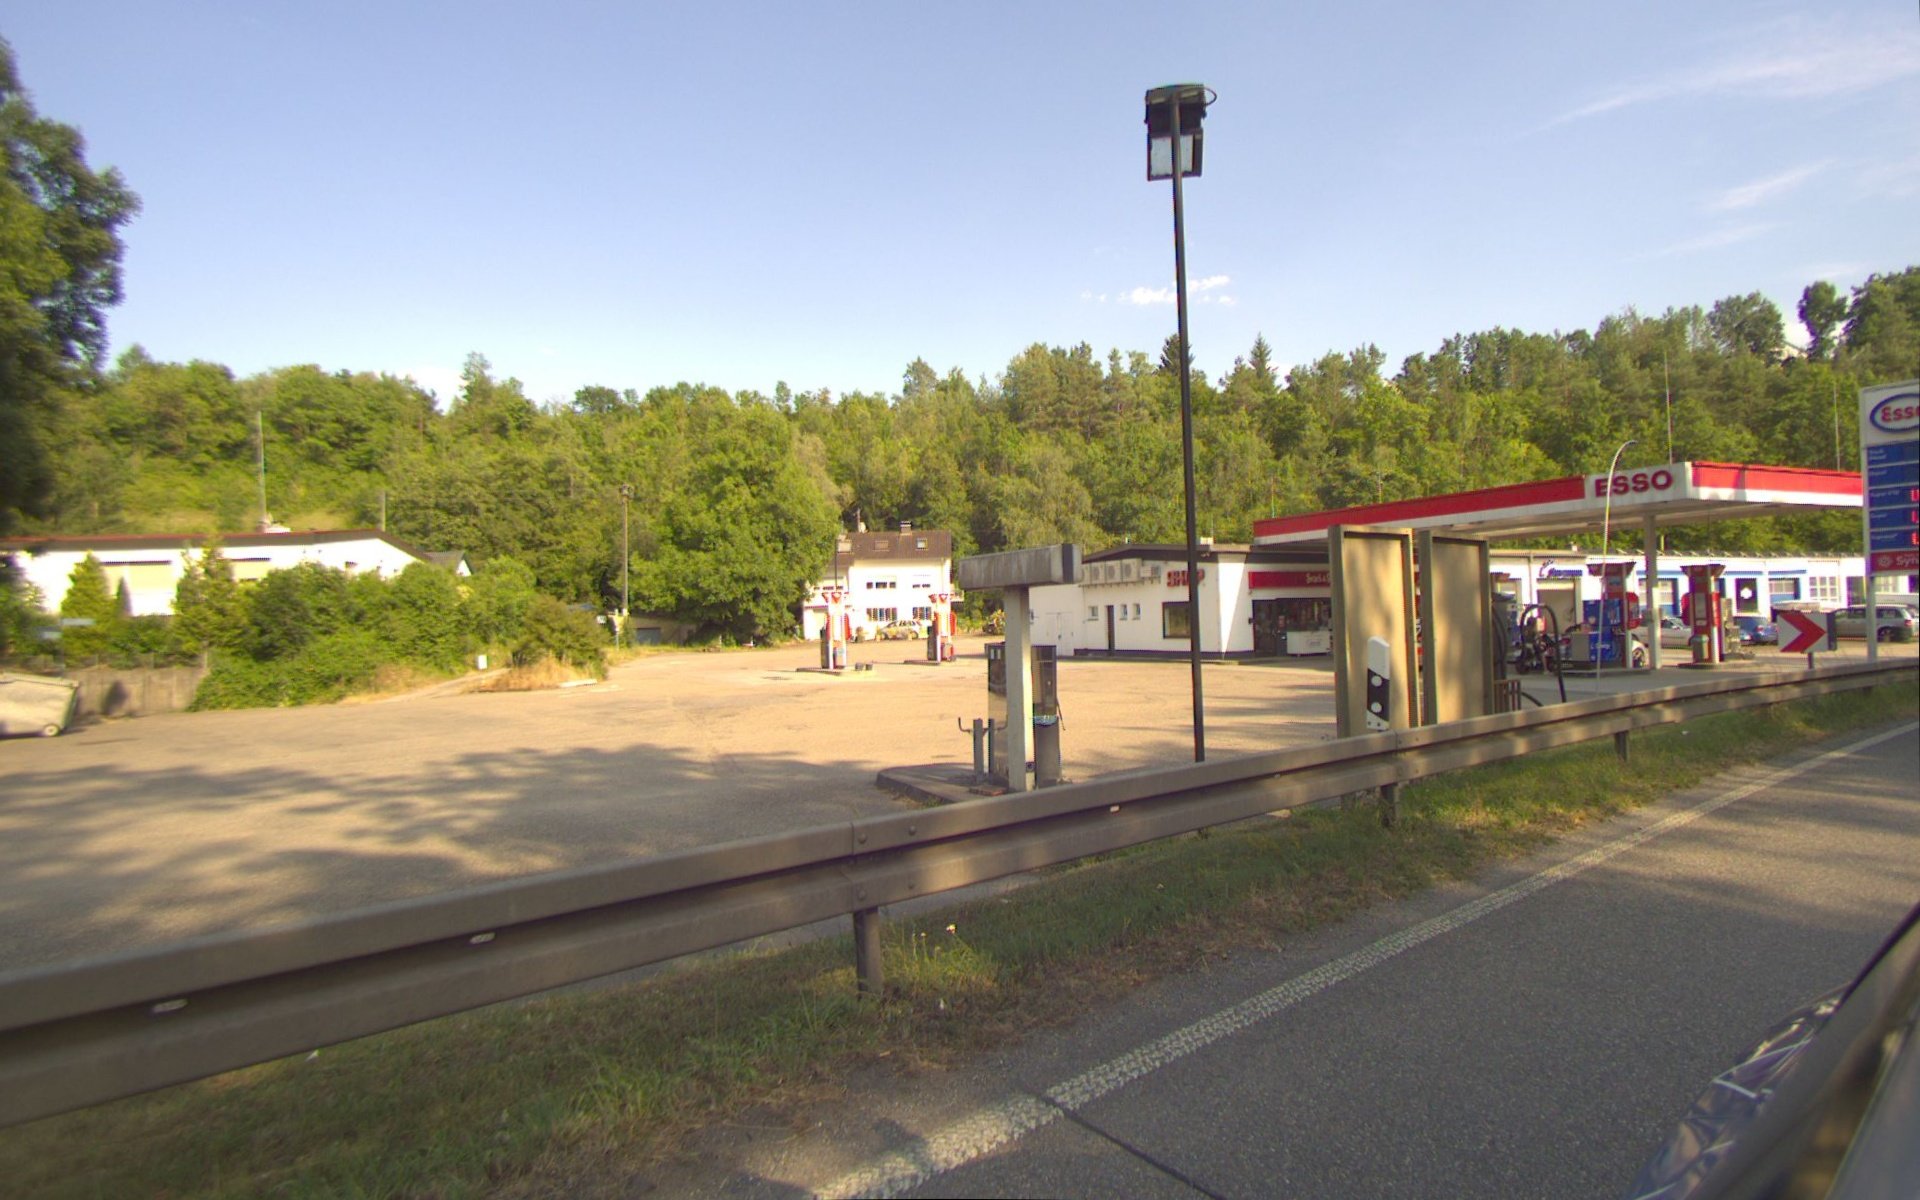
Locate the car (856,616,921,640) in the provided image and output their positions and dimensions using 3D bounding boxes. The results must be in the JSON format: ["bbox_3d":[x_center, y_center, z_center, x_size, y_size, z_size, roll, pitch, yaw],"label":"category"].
[{"bbox_3d":[-5.693,2.248,81.476,5.068,1.860,2.701,-1,-1,0],"label":"car"}]

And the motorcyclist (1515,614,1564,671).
[{"bbox_3d":[16.926,1.226,29.562,0.909,1.625,0.862,0,-1,-27],"label":"motorcyclist"}]

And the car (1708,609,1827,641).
[{"bbox_3d":[38.779,1.180,48.691,1.856,1.365,4.087,0,1,-26],"label":"car"}]

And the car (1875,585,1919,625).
[{"bbox_3d":[56.952,0.269,58.549,2.248,2.302,5.500,0,1,-26],"label":"car"}]

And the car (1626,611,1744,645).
[{"bbox_3d":[32.676,1.235,45.736,1.741,1.371,3.973,-1,1,-30],"label":"car"}]

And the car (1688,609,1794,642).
[{"bbox_3d":[36.860,1.176,47.871,1.698,1.464,3.560,0,-1,-26],"label":"car"}]

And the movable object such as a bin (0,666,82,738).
[{"bbox_3d":[-20.410,2.194,21.586,2.512,1.439,1.267,0,-4,-41],"label":"movable object such as a bin"}]

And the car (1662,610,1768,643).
[{"bbox_3d":[34.914,1.197,46.883,1.656,1.424,3.566,0,0,-26],"label":"car"}]

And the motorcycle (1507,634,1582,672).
[{"bbox_3d":[17.143,1.535,29.655,2.293,1.025,0.765,-1,-1,-27],"label":"motorcycle"}]

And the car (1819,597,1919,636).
[{"bbox_3d":[46.353,0.793,51.013,1.854,1.750,4.267,-1,2,-29],"label":"car"}]

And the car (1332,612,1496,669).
[{"bbox_3d":[14.594,1.243,32.477,5.074,1.649,2.102,0,-1,-28],"label":"car"}]

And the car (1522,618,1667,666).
[{"bbox_3d":[19.927,1.278,31.761,4.299,1.336,1.851,0,-1,-26],"label":"car"}]

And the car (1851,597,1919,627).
[{"bbox_3d":[52.777,0.643,56.460,1.856,1.631,4.261,0,1,-26],"label":"car"}]
